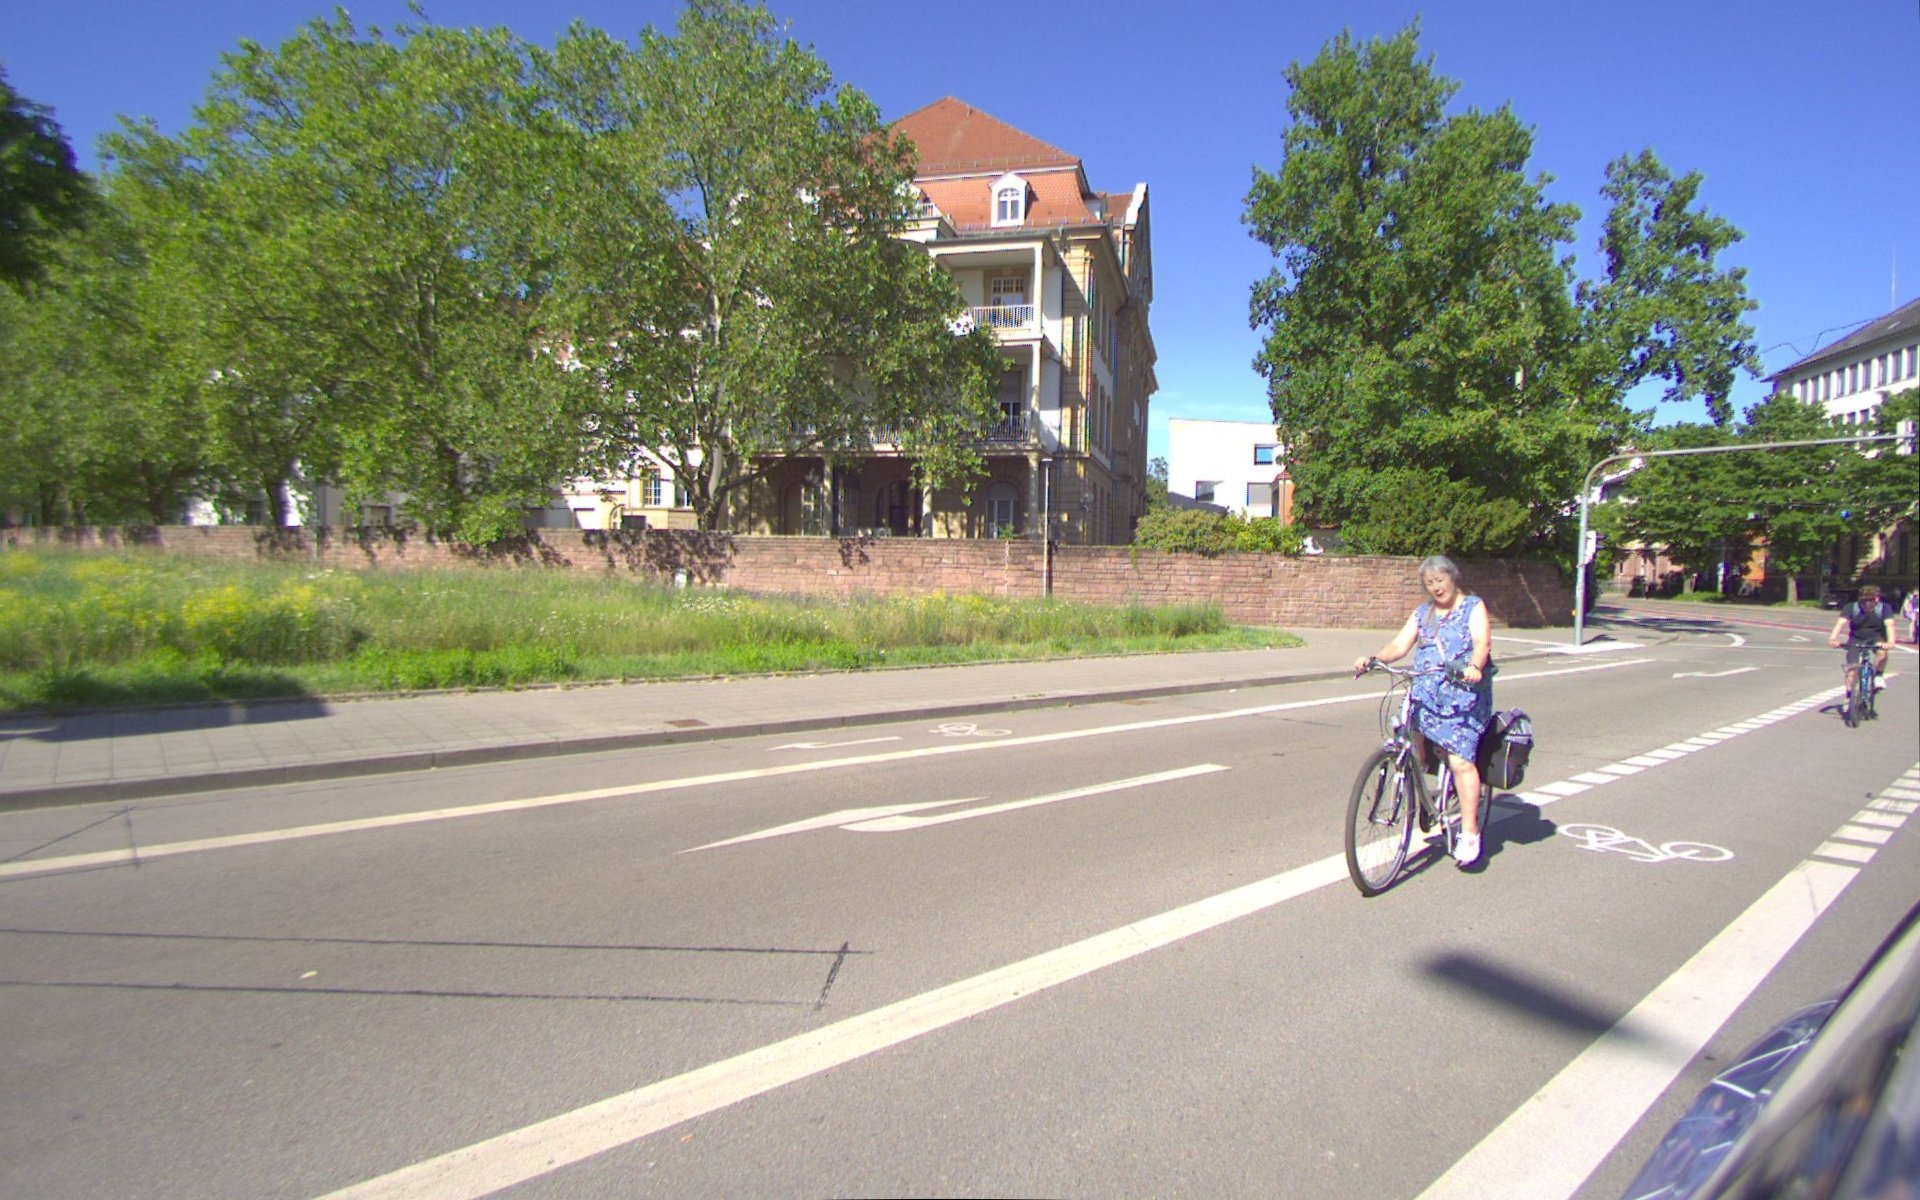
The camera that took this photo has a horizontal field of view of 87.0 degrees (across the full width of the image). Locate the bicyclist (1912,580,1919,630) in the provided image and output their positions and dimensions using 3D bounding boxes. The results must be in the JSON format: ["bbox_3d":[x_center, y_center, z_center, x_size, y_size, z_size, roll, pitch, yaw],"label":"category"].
[{"bbox_3d":[30.696,0.150,32.020,0.904,1.571,0.777,0,1,-44],"label":"bicyclist"}]

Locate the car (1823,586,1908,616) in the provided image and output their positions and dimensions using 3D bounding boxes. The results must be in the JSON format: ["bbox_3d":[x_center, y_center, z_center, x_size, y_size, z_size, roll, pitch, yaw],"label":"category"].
[{"bbox_3d":[60.933,0.034,68.145,3.731,1.838,1.999,1,2,3],"label":"car"}]

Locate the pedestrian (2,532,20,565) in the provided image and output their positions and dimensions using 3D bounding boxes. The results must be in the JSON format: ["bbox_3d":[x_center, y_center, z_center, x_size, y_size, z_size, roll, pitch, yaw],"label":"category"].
[{"bbox_3d":[-48.802,-2.639,52.035,0.642,1.631,0.557,0,0,-42],"label":"pedestrian"}]

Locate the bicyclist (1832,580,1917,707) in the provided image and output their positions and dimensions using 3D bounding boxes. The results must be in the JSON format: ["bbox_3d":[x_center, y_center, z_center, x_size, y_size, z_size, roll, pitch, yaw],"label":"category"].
[{"bbox_3d":[11.035,0.494,12.205,0.936,1.462,0.642,1,0,-41],"label":"bicyclist"}]

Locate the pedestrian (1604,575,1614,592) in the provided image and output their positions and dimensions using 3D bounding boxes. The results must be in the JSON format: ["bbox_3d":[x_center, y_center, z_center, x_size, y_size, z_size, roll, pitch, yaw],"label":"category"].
[{"bbox_3d":[63.210,-1.615,98.582,0.628,1.631,0.841,0,0,20],"label":"pedestrian"}]

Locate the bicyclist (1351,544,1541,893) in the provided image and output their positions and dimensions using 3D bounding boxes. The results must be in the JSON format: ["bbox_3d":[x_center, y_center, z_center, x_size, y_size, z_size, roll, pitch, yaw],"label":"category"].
[{"bbox_3d":[2.579,0.557,5.372,0.763,1.683,0.642,-1,2,-41],"label":"bicyclist"}]

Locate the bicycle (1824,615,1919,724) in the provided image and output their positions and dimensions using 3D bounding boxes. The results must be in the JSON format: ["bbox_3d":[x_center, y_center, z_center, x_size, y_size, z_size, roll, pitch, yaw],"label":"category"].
[{"bbox_3d":[10.988,0.790,12.172,1.837,1.180,0.642,0,1,-41],"label":"bicycle"}]

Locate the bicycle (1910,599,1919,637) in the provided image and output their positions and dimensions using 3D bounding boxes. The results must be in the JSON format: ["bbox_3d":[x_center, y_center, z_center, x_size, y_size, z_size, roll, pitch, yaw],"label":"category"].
[{"bbox_3d":[30.670,0.559,32.007,1.935,1.179,0.777,0,1,-44],"label":"bicycle"}]

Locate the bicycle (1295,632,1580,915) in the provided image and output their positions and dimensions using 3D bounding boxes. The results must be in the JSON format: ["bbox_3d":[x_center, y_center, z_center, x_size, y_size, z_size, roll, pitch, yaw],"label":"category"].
[{"bbox_3d":[2.602,0.803,5.399,1.933,1.179,0.642,0,1,-41],"label":"bicycle"}]
